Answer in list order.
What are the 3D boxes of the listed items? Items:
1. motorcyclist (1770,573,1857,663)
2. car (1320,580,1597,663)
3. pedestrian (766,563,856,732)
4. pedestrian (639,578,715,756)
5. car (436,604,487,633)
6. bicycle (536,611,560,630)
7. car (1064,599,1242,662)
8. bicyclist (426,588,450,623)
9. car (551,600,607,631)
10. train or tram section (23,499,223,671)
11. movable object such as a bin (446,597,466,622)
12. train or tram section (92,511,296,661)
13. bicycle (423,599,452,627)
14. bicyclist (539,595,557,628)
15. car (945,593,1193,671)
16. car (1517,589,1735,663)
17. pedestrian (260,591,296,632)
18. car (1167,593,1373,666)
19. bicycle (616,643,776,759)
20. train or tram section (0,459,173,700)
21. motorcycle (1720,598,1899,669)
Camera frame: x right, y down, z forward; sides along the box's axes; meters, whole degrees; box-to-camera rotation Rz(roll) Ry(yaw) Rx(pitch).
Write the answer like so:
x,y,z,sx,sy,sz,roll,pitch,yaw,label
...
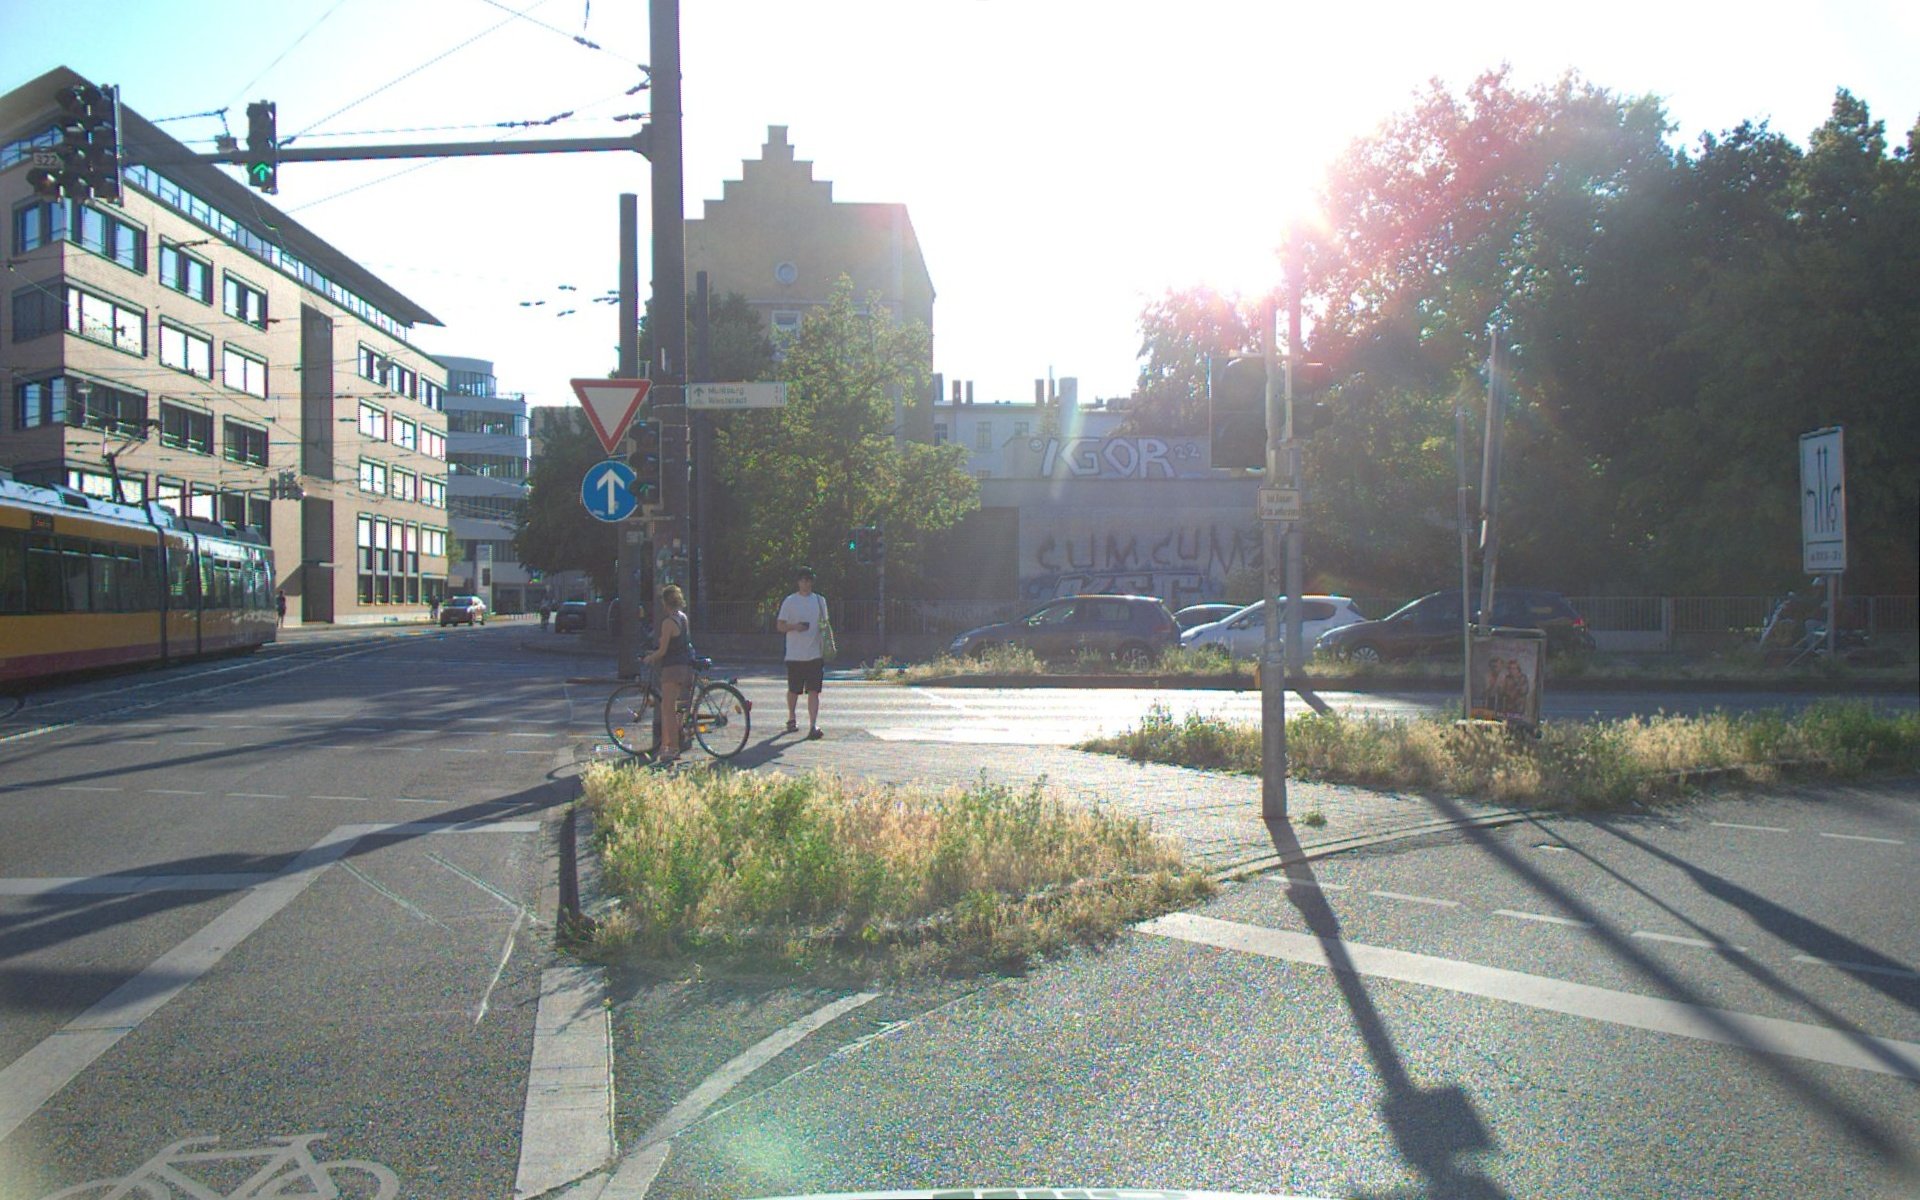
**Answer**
x,y,z,sx,sy,sz,roll,pitch,yaw,label
13.736,0.284,26.651,1.035,1.422,0.855,-1,0,11,motorcyclist
8.234,0.365,27.671,4.269,1.319,1.726,-1,0,11,car
-1.671,0.513,18.427,0.893,1.820,0.825,0,0,-13,pedestrian
-2.695,0.628,15.786,0.514,1.660,0.488,-1,0,30,pedestrian
-28.532,1.037,94.771,1.779,1.643,4.462,-1,0,-3,car
-19.487,0.967,78.310,0.681,0.892,2.026,0,0,-1,bicycle
4.277,0.666,36.492,3.799,1.319,1.726,-1,0,9,car
-31.553,0.348,99.898,1.009,2.049,1.246,1,-2,-1,bicyclist
-17.882,0.724,77.767,1.748,1.412,3.999,0,0,-1,car
-18.637,-0.311,37.175,2.812,3.569,5.285,0,0,-13,train or tram section
-33.848,0.630,111.089,1.045,1.657,0.888,-1,0,-5,movable object such as a bin
-20.579,-0.320,45.211,2.811,3.569,11.258,0,0,-13,train or tram section
-31.570,0.770,99.969,1.009,1.680,2.560,0,0,-1,bicycle
-19.496,0.536,78.296,0.660,1.549,0.813,0,0,-2,bicyclist
1.952,0.556,29.154,4.144,1.319,1.726,-1,0,13,car
14.021,0.533,34.985,3.903,1.489,1.861,-1,0,4,car
-35.012,0.592,84.948,1.215,2.049,1.553,-1,0,-3,pedestrian
5.947,0.555,31.967,3.799,1.342,1.726,-1,0,9,car
-2.535,0.947,15.805,1.635,1.047,0.399,-1,0,30,bicycle
-16.521,-0.279,28.303,2.811,3.569,12.969,0,0,-13,train or tram section
13.662,0.536,26.660,2.409,1.127,0.862,-1,0,11,motorcycle
